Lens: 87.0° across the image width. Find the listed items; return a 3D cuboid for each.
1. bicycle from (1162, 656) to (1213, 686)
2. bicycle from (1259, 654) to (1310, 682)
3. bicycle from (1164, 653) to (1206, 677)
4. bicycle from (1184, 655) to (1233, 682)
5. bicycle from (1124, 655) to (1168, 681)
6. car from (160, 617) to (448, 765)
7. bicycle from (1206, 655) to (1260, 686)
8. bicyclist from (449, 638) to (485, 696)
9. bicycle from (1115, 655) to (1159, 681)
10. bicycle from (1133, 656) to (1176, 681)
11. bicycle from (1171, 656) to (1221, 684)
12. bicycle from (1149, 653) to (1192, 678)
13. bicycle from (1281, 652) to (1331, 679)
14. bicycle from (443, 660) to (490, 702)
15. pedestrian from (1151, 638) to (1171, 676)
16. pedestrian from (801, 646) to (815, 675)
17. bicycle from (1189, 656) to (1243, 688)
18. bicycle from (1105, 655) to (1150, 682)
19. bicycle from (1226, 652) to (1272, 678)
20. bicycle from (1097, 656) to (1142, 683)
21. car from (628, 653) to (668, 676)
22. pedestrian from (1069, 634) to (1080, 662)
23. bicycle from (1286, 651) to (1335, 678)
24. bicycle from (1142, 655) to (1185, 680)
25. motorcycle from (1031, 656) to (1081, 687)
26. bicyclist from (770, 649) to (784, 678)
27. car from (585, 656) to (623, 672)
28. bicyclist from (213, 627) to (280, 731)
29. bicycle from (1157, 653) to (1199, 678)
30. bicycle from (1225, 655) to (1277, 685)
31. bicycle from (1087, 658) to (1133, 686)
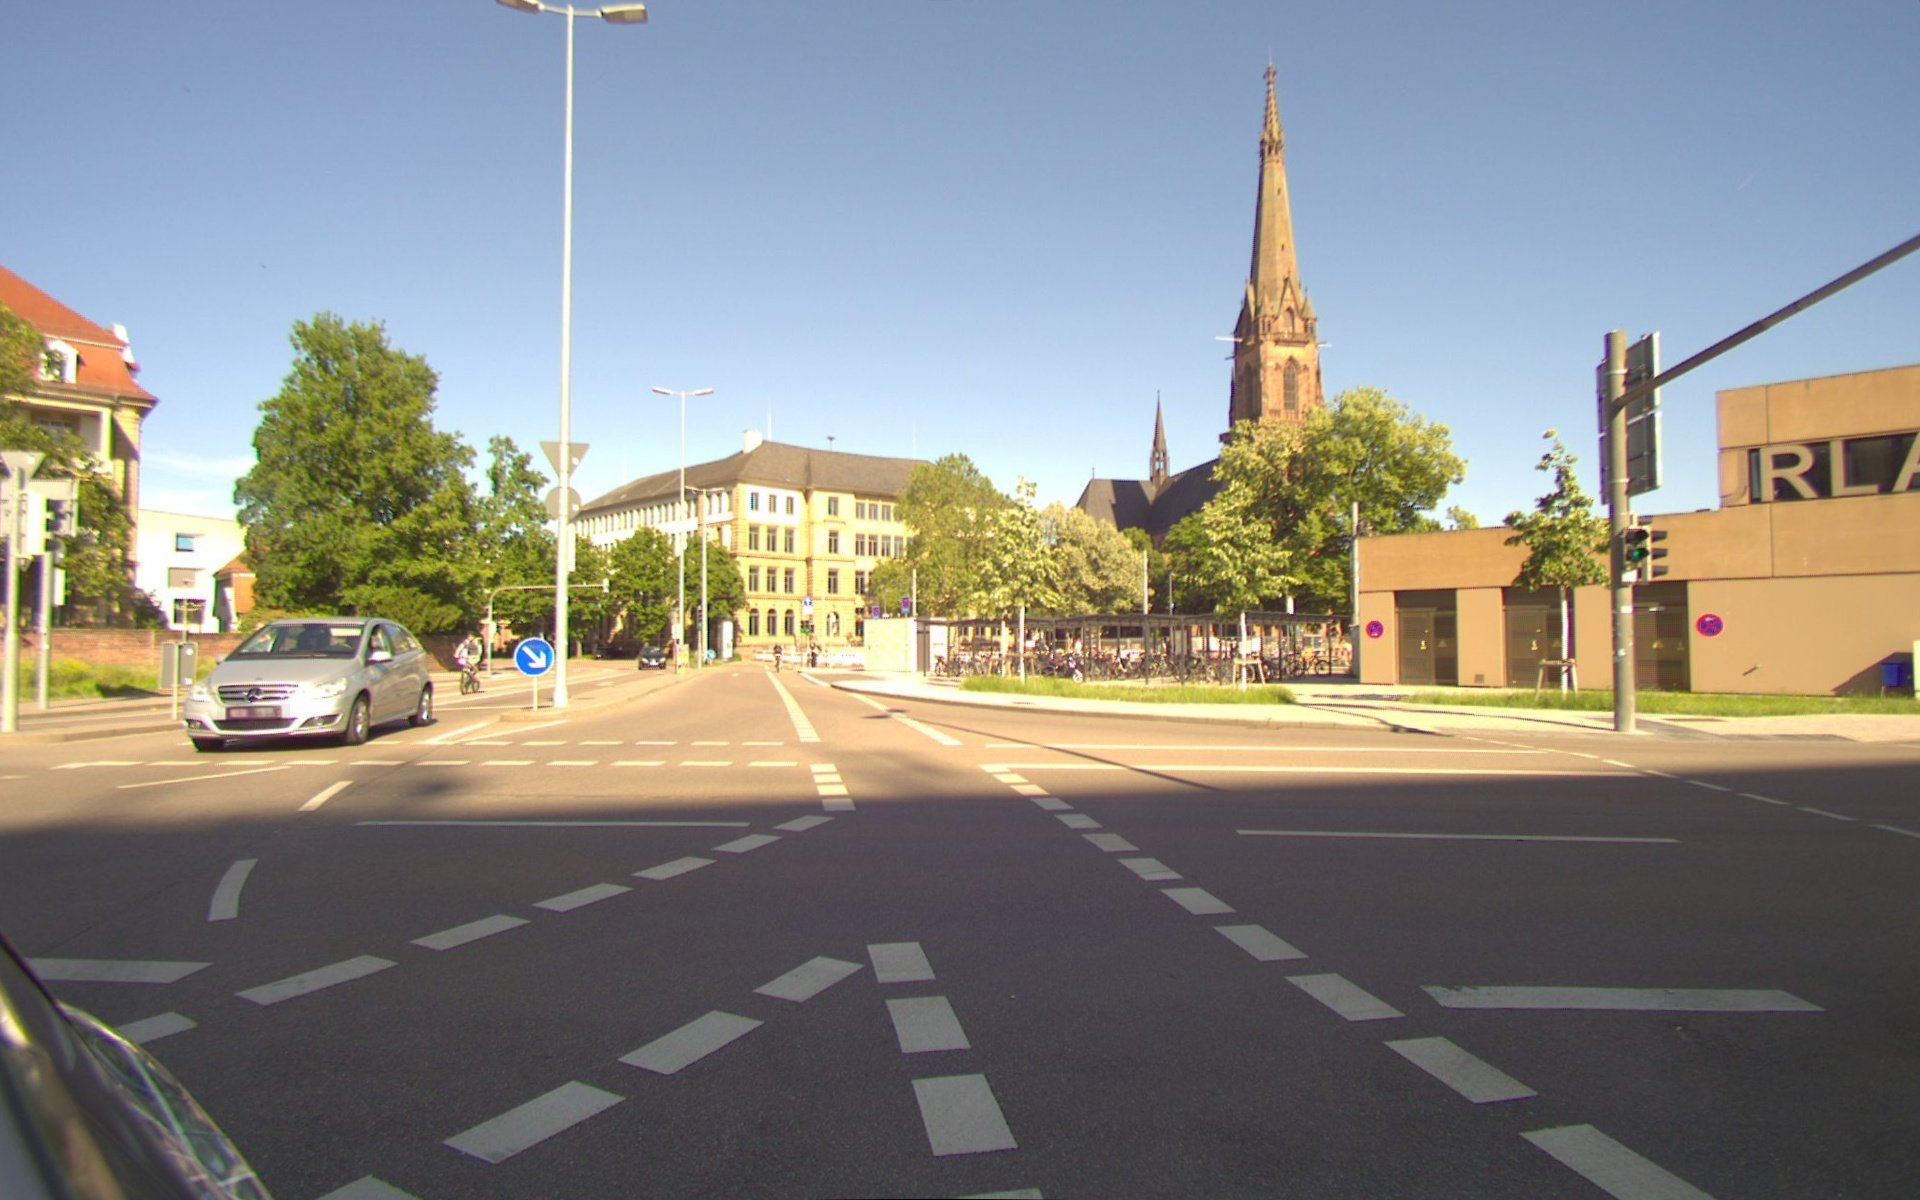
[{"bbox_3d":[8.439,2.634,37.593,1.787,1.046,0.560,-2,-4,42],"label":"bicycle"},{"bbox_3d":[12.440,2.595,38.799,1.787,1.046,0.560,-2,-4,42],"label":"bicycle"},{"bbox_3d":[9.954,2.873,44.794,1.787,1.046,0.560,-2,-4,42],"label":"bicycle"},{"bbox_3d":[9.691,2.663,39.481,1.787,1.046,0.560,-2,-4,42],"label":"bicycle"},{"bbox_3d":[7.756,2.827,42.308,1.787,1.046,0.560,-2,-4,42],"label":"bicycle"},{"bbox_3d":[-8.457,1.122,13.588,1.742,1.606,4.649,-1,-3,-13],"label":"car"},{"bbox_3d":[9.708,2.509,36.040,1.787,1.046,0.560,-2,-4,42],"label":"bicycle"},{"bbox_3d":[-14.411,1.945,29.627,0.772,1.675,0.778,-1,-2,-11],"label":"bicyclist"},{"bbox_3d":[7.292,2.806,41.781,1.787,1.046,0.560,-2,-4,42],"label":"bicycle"},{"bbox_3d":[8.231,2.885,42.834,1.787,1.046,0.560,-2,-4,42],"label":"bicycle"},{"bbox_3d":[9.029,2.664,38.750,1.787,1.046,0.560,-2,-4,42],"label":"bicycle"},{"bbox_3d":[9.126,2.837,43.850,1.787,1.046,0.560,-2,-4,42],"label":"bicycle"},{"bbox_3d":[13.856,2.601,40.557,1.787,1.046,0.560,-2,-4,42],"label":"bicycle"},{"bbox_3d":[-14.399,2.345,29.598,0.766,1.174,1.972,-1,-3,-11],"label":"bicycle"},{"bbox_3d":[9.311,2.644,46.969,0.681,1.736,0.609,-3,-4,40],"label":"pedestrian"},{"bbox_3d":[-9.383,3.731,62.568,0.777,1.694,0.649,-2,-3,-10],"label":"pedestrian"},{"bbox_3d":[8.962,2.511,35.452,1.787,1.046,0.560,-2,-4,42],"label":"bicycle"},{"bbox_3d":[6.828,2.789,41.282,1.787,1.046,0.560,-2,-4,42],"label":"bicycle"},{"bbox_3d":[12.045,2.690,42.253,1.787,1.046,0.560,-2,-4,42],"label":"bicycle"},{"bbox_3d":[6.417,2.811,40.804,1.787,1.046,0.560,-2,-4,42],"label":"bicycle"},{"bbox_3d":[-21.375,4.400,69.204,1.965,1.484,4.311,-1,-3,-26],"label":"car"},{"bbox_3d":[7.317,3.074,64.619,0.534,1.736,0.677,-3,-8,19],"label":"pedestrian"},{"bbox_3d":[14.245,2.607,41.149,1.787,1.046,0.560,-2,-4,42],"label":"bicycle"},{"bbox_3d":[8.722,2.889,43.408,1.787,1.046,0.560,-2,-4,42],"label":"bicycle"},{"bbox_3d":[3.625,2.707,38.465,0.586,1.128,1.986,2,-4,-44],"label":"motorcycle"},{"bbox_3d":[-10.458,3.598,57.755,0.710,1.633,0.980,1,-3,-11],"label":"bicyclist"},{"bbox_3d":[-41.795,7.511,118.904,1.993,1.830,3.760,-2,-3,31],"label":"car"},{"bbox_3d":[-11.870,1.299,16.863,0.633,1.675,0.778,-1,-2,-11],"label":"bicyclist"},{"bbox_3d":[9.543,2.860,44.316,1.787,1.046,0.560,-2,-4,42],"label":"bicycle"},{"bbox_3d":[10.579,2.531,36.820,0.559,1.046,1.790,4,-4,-41],"label":"bicycle"},{"bbox_3d":[5.958,2.845,40.228,1.787,1.046,0.560,-2,-4,42],"label":"bicycle"}]
